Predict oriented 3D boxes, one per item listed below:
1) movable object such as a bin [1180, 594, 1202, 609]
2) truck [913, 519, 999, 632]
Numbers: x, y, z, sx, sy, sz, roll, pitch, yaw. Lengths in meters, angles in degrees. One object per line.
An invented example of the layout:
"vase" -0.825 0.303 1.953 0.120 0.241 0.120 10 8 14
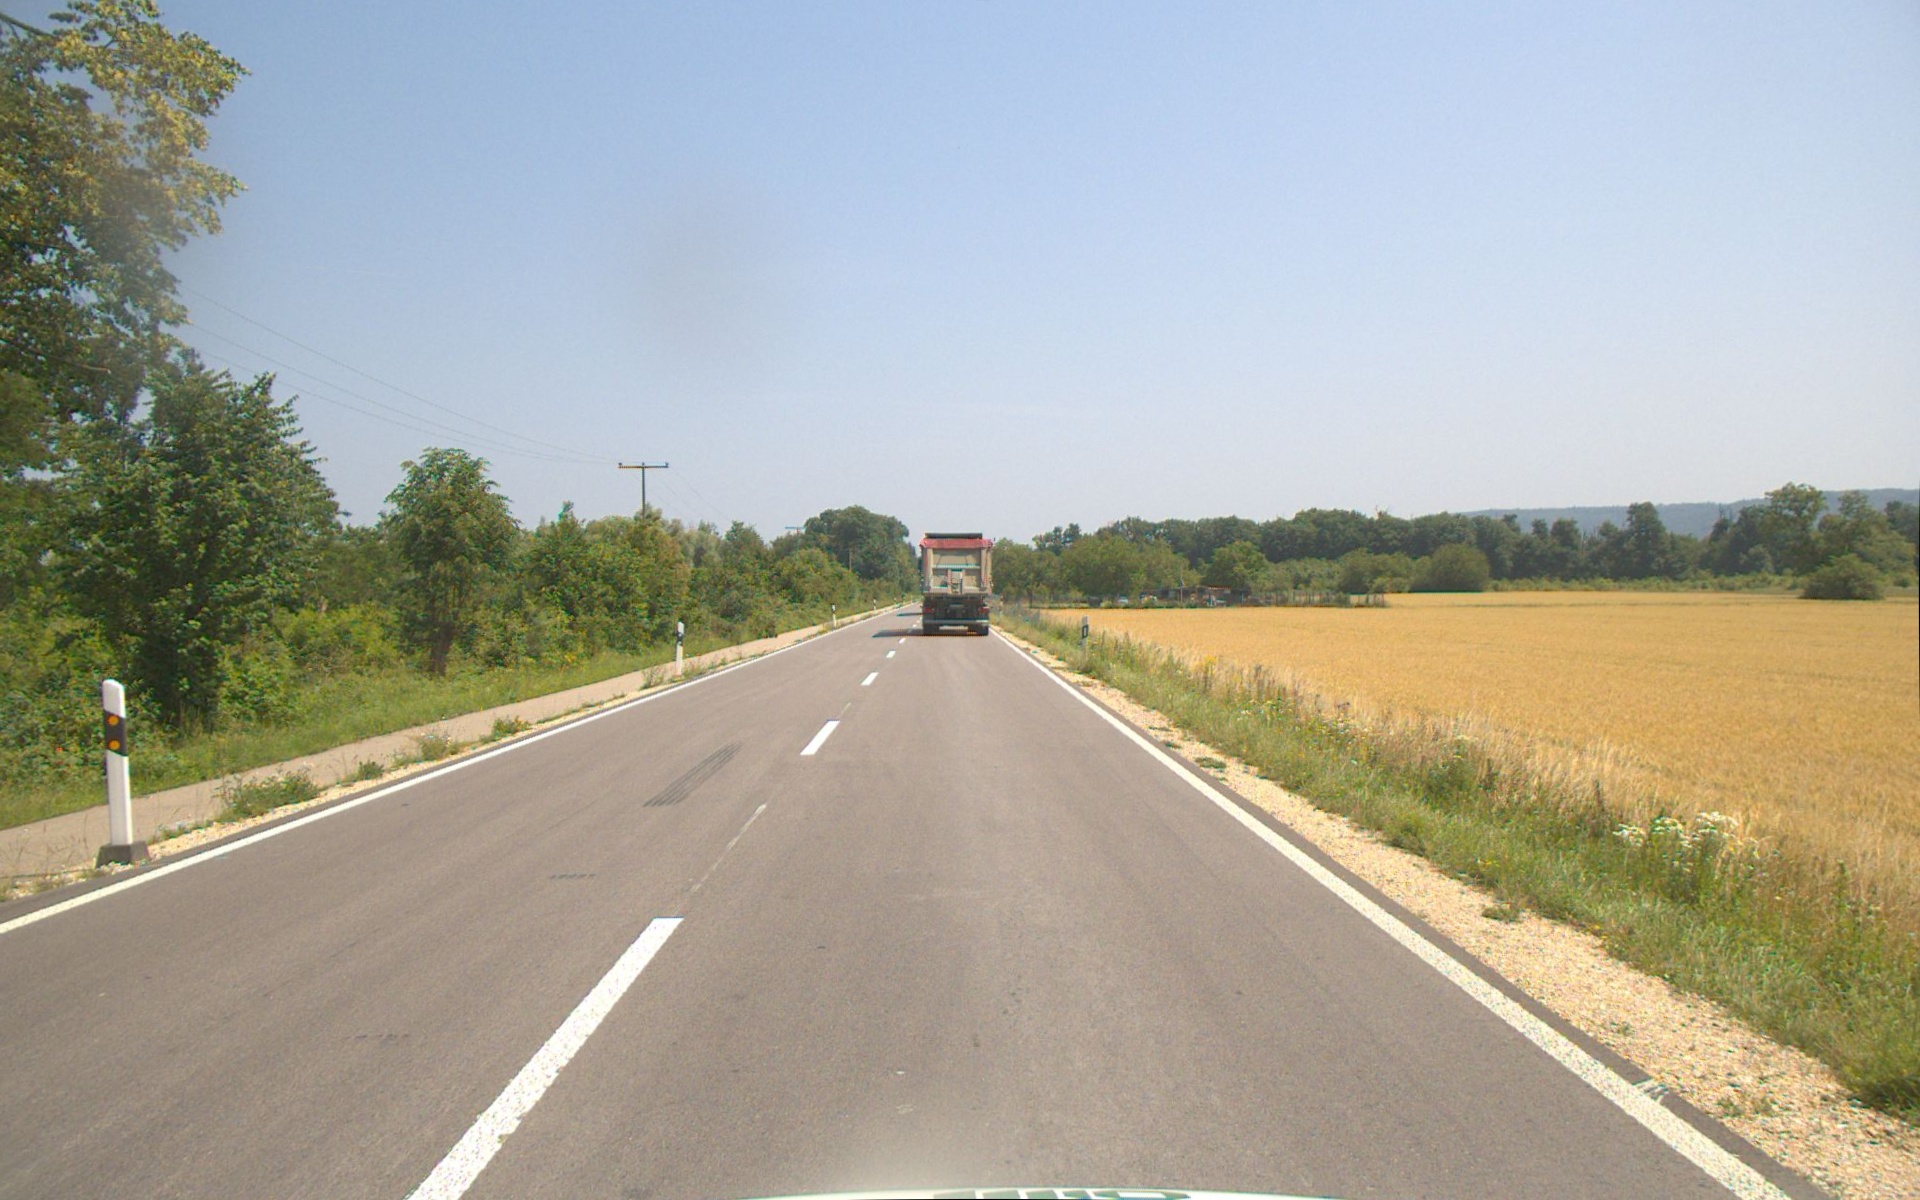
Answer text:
"movable object such as a bin" 24.656 0.154 176.323 1.540 1.522 3.655 0 0 -5
"truck" -0.215 -0.848 64.463 2.948 3.942 12.206 1 0 -1
